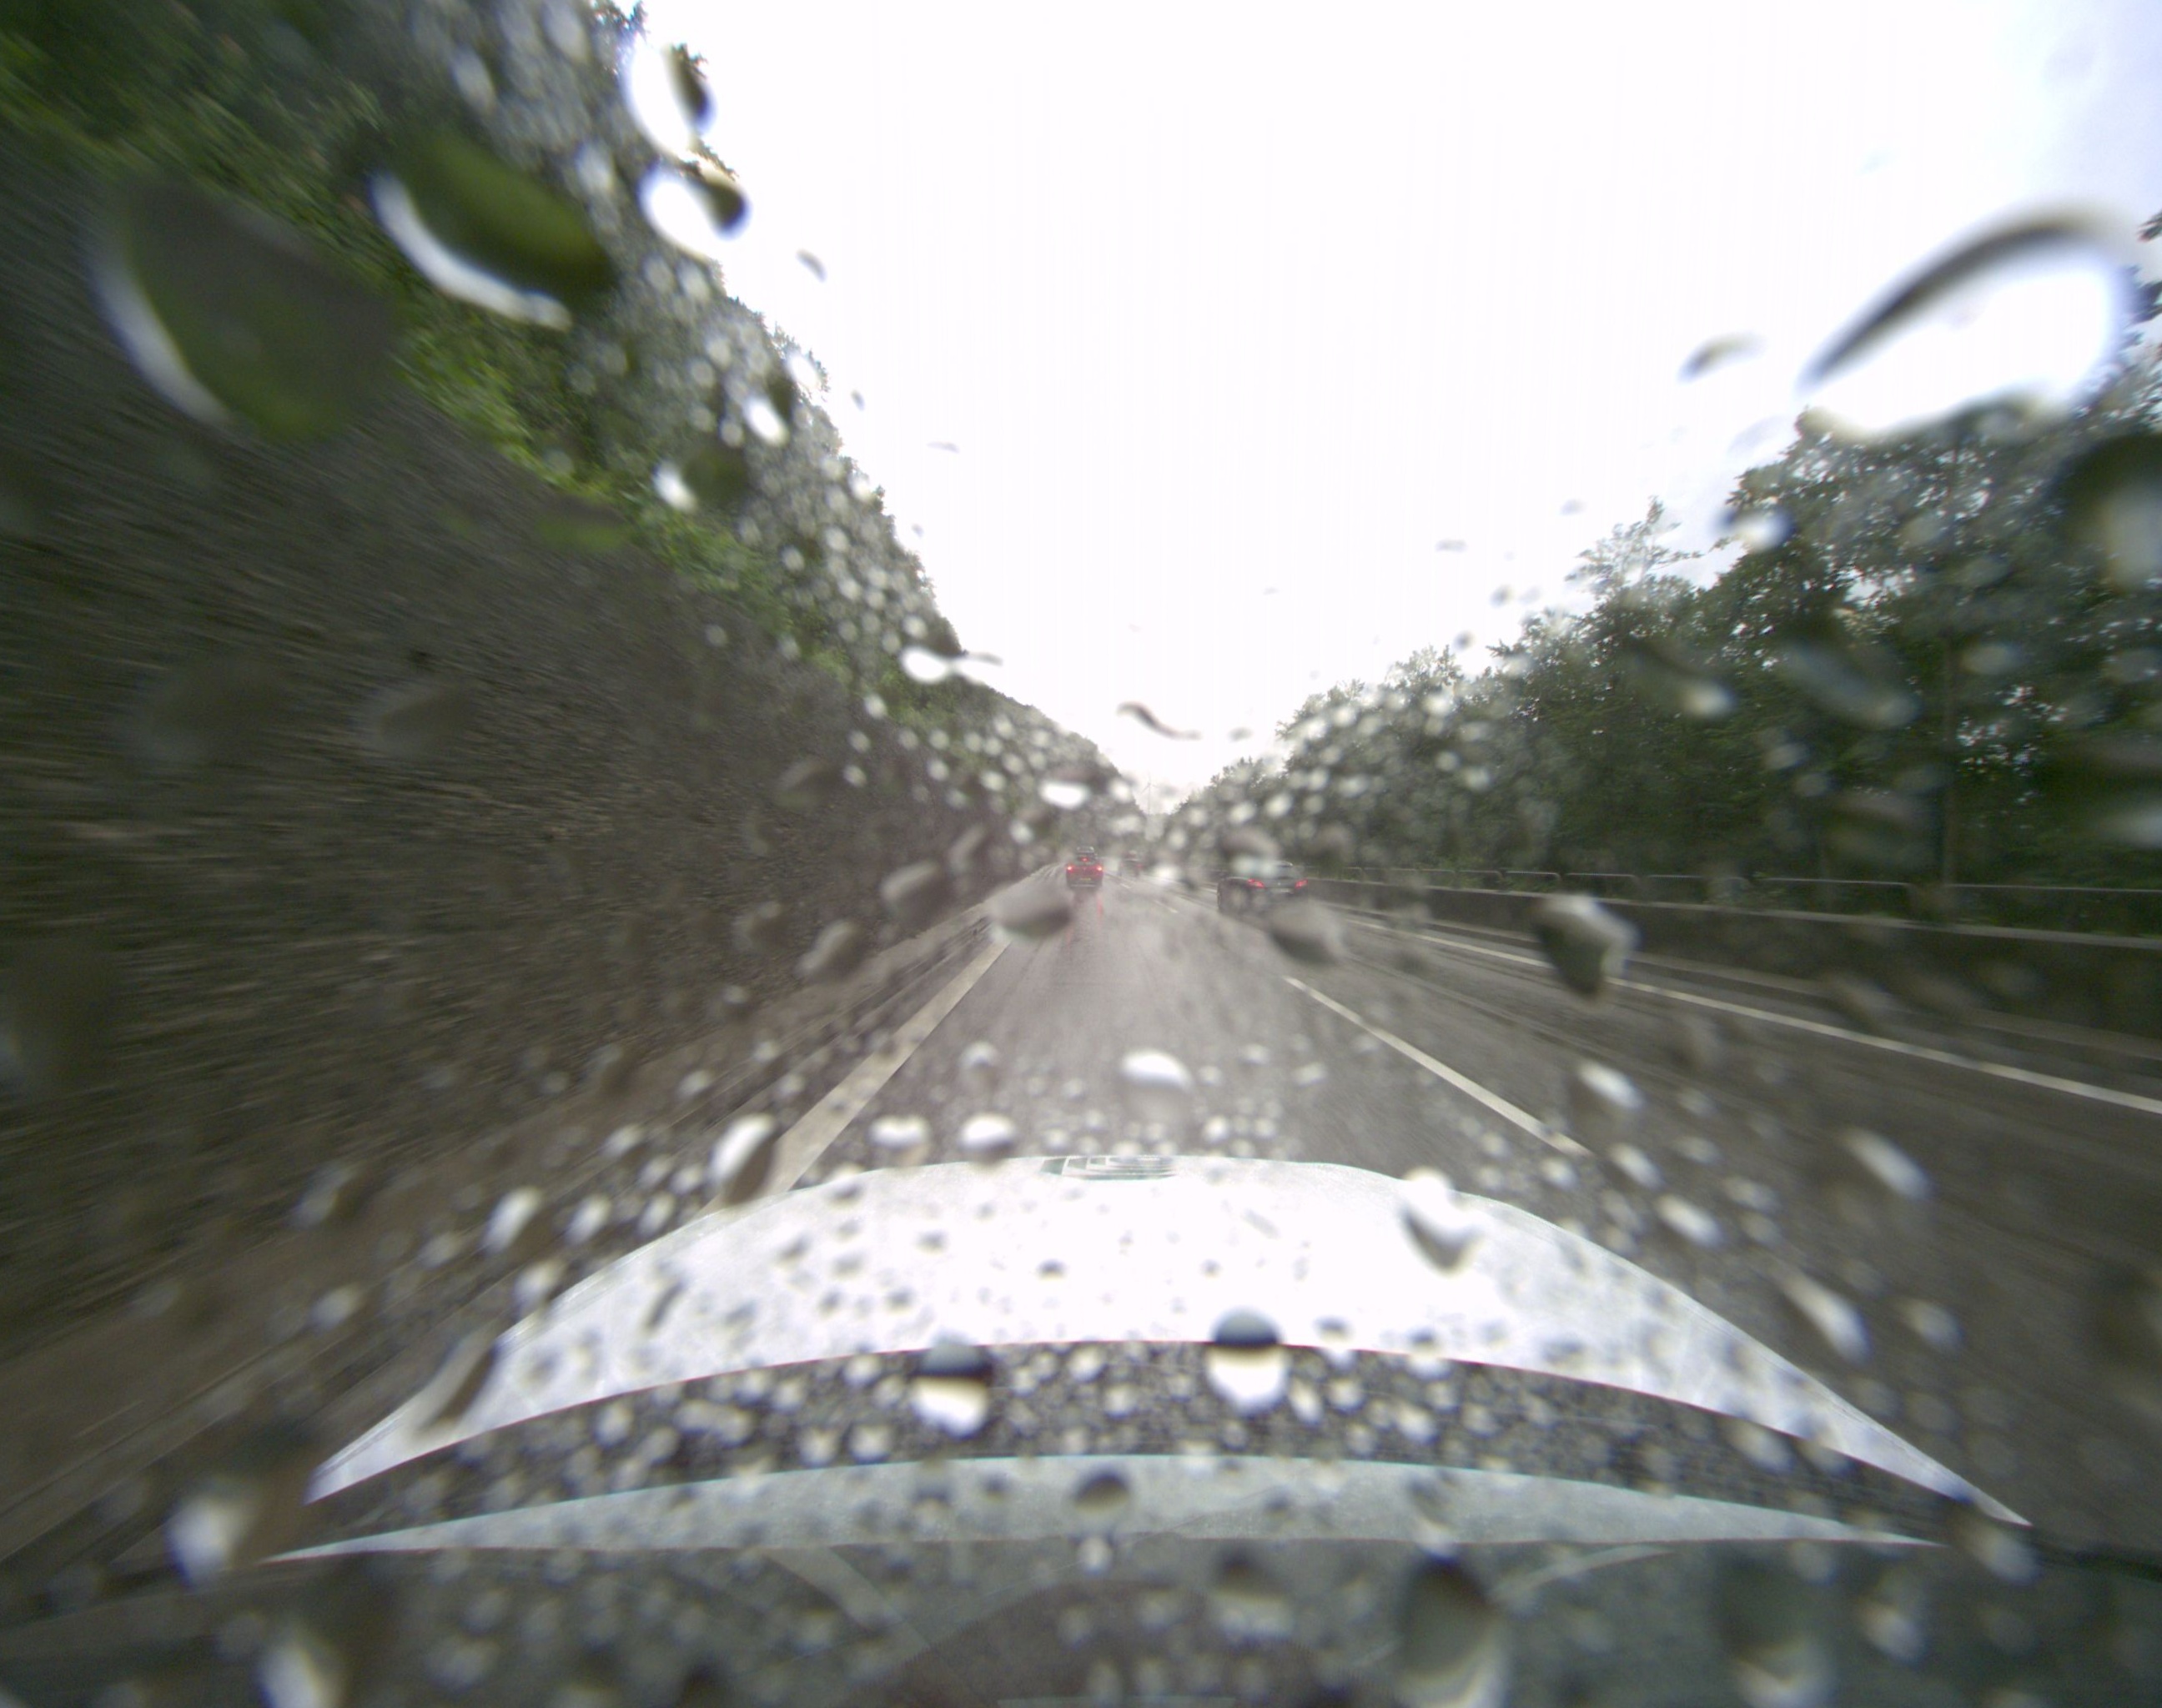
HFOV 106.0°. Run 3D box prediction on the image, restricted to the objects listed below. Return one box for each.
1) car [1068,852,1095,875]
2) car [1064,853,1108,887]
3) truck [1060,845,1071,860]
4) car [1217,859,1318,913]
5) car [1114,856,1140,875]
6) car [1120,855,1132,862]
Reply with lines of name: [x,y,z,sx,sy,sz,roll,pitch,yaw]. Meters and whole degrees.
car: [0.051,0.748,63.260,1.986,1.684,4.000,0,-1,1]
car: [0.246,0.775,39.881,1.987,1.552,3.999,-1,-1,0]
truck: [-2.943,-0.198,156.079,1.988,2.751,5.583,-1,0,-1]
car: [4.993,0.822,22.364,1.795,1.307,3.998,-1,0,-1]
car: [3.911,0.959,69.643,1.987,1.552,3.999,0,0,0]
car: [11.919,1.182,215.112,2.447,2.014,4.724,-1,0,-7]
